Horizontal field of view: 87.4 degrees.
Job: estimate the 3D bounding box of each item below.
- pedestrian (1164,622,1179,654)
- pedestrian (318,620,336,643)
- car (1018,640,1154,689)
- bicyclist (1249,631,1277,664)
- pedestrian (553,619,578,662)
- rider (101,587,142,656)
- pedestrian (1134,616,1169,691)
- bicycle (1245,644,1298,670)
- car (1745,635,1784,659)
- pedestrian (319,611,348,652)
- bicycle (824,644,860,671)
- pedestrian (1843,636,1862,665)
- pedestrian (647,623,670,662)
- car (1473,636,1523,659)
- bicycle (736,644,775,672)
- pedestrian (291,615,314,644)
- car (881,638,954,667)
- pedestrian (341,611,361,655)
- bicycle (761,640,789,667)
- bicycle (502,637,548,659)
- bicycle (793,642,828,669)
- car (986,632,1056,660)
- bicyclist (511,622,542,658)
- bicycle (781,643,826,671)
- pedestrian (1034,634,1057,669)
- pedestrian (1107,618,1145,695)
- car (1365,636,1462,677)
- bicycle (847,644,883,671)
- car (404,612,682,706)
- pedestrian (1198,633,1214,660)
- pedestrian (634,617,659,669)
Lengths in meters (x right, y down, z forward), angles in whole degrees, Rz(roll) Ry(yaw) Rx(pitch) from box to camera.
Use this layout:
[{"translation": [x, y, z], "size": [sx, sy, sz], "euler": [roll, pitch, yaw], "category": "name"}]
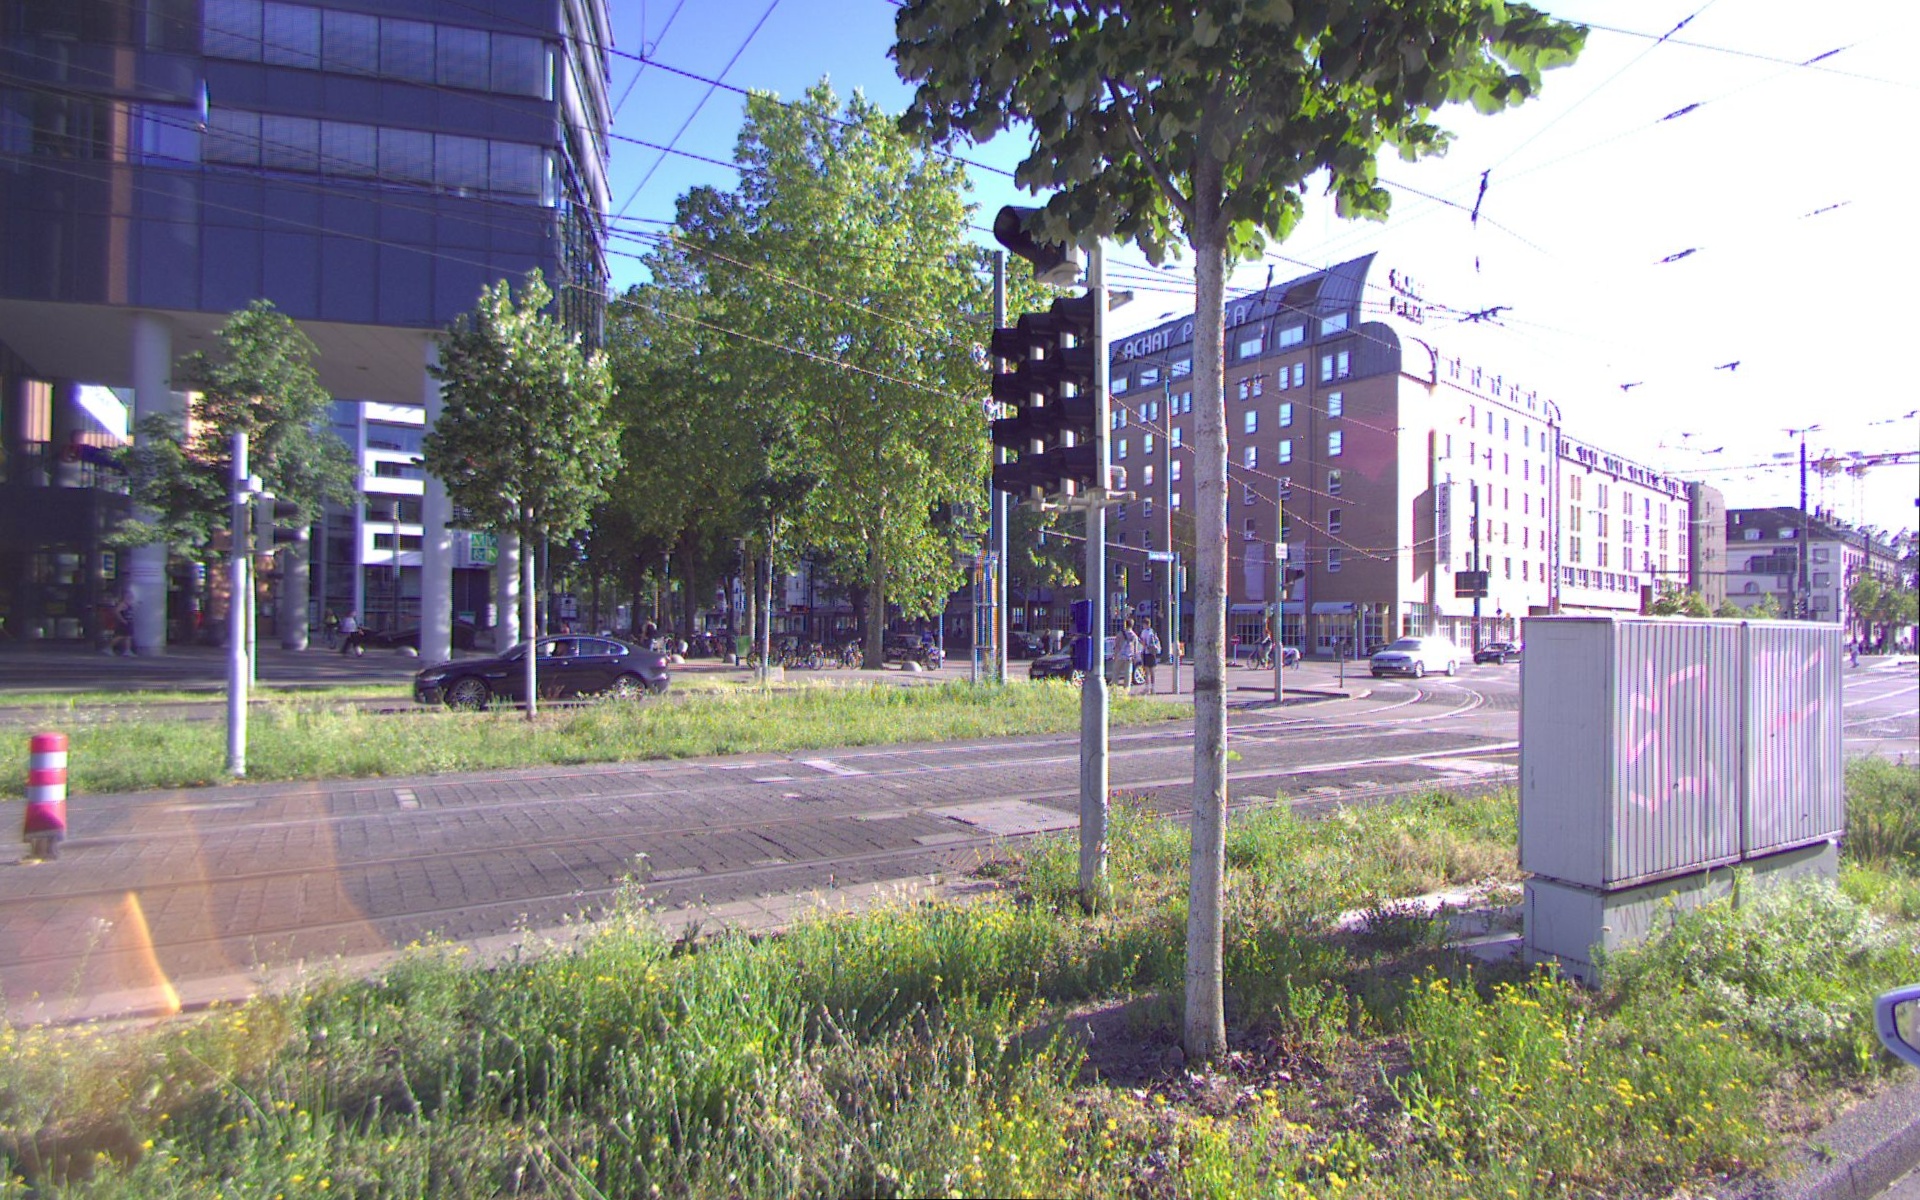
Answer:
[{"translation": [13.892, 2.494, 66.047], "size": [0.669, 2.040, 0.663], "euler": [1, -1, -29], "category": "pedestrian"}, {"translation": [-35.258, 1.755, 55.951], "size": [0.651, 1.294, 0.636], "euler": [1, 0, -13], "category": "pedestrian"}, {"translation": [3.933, 1.965, 31.001], "size": [4.104, 1.440, 1.711], "euler": [2, -4, -36], "category": "car"}, {"translation": [13.000, 2.025, 43.086], "size": [0.942, 1.393, 0.752], "euler": [2, -1, -37], "category": "bicyclist"}, {"translation": [-15.279, 1.575, 38.928], "size": [0.826, 1.619, 0.730], "euler": [1, 0, -25], "category": "pedestrian"}, {"translation": [-22.730, 0.591, 27.243], "size": [0.704, 1.826, 0.715], "euler": [1, -1, -29], "category": "rider"}, {"translation": [4.767, 1.314, 25.056], "size": [0.656, 1.841, 0.559], "euler": [1, -1, -36], "category": "pedestrian"}, {"translation": [13.446, 2.443, 43.322], "size": [2.900, 1.099, 0.645], "euler": [2, -2, -38], "category": "bicycle"}, {"translation": [53.369, 3.092, 66.623], "size": [1.726, 1.524, 3.858], "euler": [-1, -2, 43], "category": "car"}, {"translation": [-26.923, 1.353, 43.159], "size": [0.794, 1.730, 0.789], "euler": [1, 0, -13], "category": "pedestrian"}, {"translation": [-4.474, 2.173, 38.024], "size": [0.536, 0.964, 1.753], "euler": [2, -2, -36], "category": "bicycle"}, {"translation": [51.538, 2.917, 58.006], "size": [0.739, 1.662, 0.758], "euler": [2, -2, -44], "category": "pedestrian"}, {"translation": [-12.811, 1.806, 42.699], "size": [0.826, 1.667, 0.730], "euler": [1, -1, -25], "category": "pedestrian"}, {"translation": [34.117, 2.978, 63.634], "size": [3.974, 1.407, 1.737], "euler": [2, -2, -45], "category": "car"}, {"translation": [-7.515, 2.117, 36.808], "size": [0.538, 0.964, 1.748], "euler": [2, -2, -44], "category": "bicycle"}, {"translation": [-35.823, 1.597, 54.735], "size": [0.647, 1.500, 1.053], "euler": [1, 0, -13], "category": "pedestrian"}, {"translation": [-2.115, 2.549, 48.968], "size": [1.977, 1.283, 3.968], "euler": [1, -2, -30], "category": "car"}, {"translation": [-21.167, 1.152, 34.910], "size": [0.566, 1.500, 0.450], "euler": [1, 0, -30], "category": "pedestrian"}, {"translation": [-7.062, 2.046, 38.468], "size": [0.530, 0.964, 1.772], "euler": [1, -1, 7], "category": "bicycle"}, {"translation": [-18.427, 2.024, 42.552], "size": [1.850, 0.922, 0.500], "euler": [0, -1, 16], "category": "bicycle"}, {"translation": [-5.699, 2.101, 38.258], "size": [0.536, 0.964, 1.753], "euler": [2, -2, -36], "category": "bicycle"}, {"translation": [3.333, 2.510, 55.154], "size": [1.743, 1.439, 3.960], "euler": [2, -2, -35], "category": "car"}, {"translation": [-18.370, 1.698, 42.567], "size": [0.996, 1.484, 0.680], "euler": [0, -1, 16], "category": "bicyclist"}, {"translation": [-5.744, 2.090, 36.864], "size": [1.742, 0.964, 0.540], "euler": [0, -1, 34], "category": "bicycle"}, {"translation": [4.086, 2.463, 48.029], "size": [0.832, 1.619, 0.692], "euler": [1, 0, -33], "category": "pedestrian"}, {"translation": [4.065, 1.370, 24.629], "size": [0.656, 1.854, 0.627], "euler": [1, -1, -36], "category": "pedestrian"}, {"translation": [17.260, 2.126, 38.166], "size": [3.960, 1.468, 1.563], "euler": [2, -2, -35], "category": "car"}, {"translation": [-3.648, 2.198, 38.422], "size": [0.536, 0.964, 1.753], "euler": [2, -2, -36], "category": "bicycle"}, {"translation": [-8.023, 1.210, 19.493], "size": [4.688, 1.616, 1.983], "euler": [3, -7, -33], "category": "car"}, {"translation": [14.407, 2.707, 58.801], "size": [0.652, 1.523, 0.672], "euler": [1, -1, -33], "category": "pedestrian"}, {"translation": [-12.735, 1.741, 40.821], "size": [0.826, 2.040, 0.730], "euler": [1, 0, -25], "category": "pedestrian"}]
